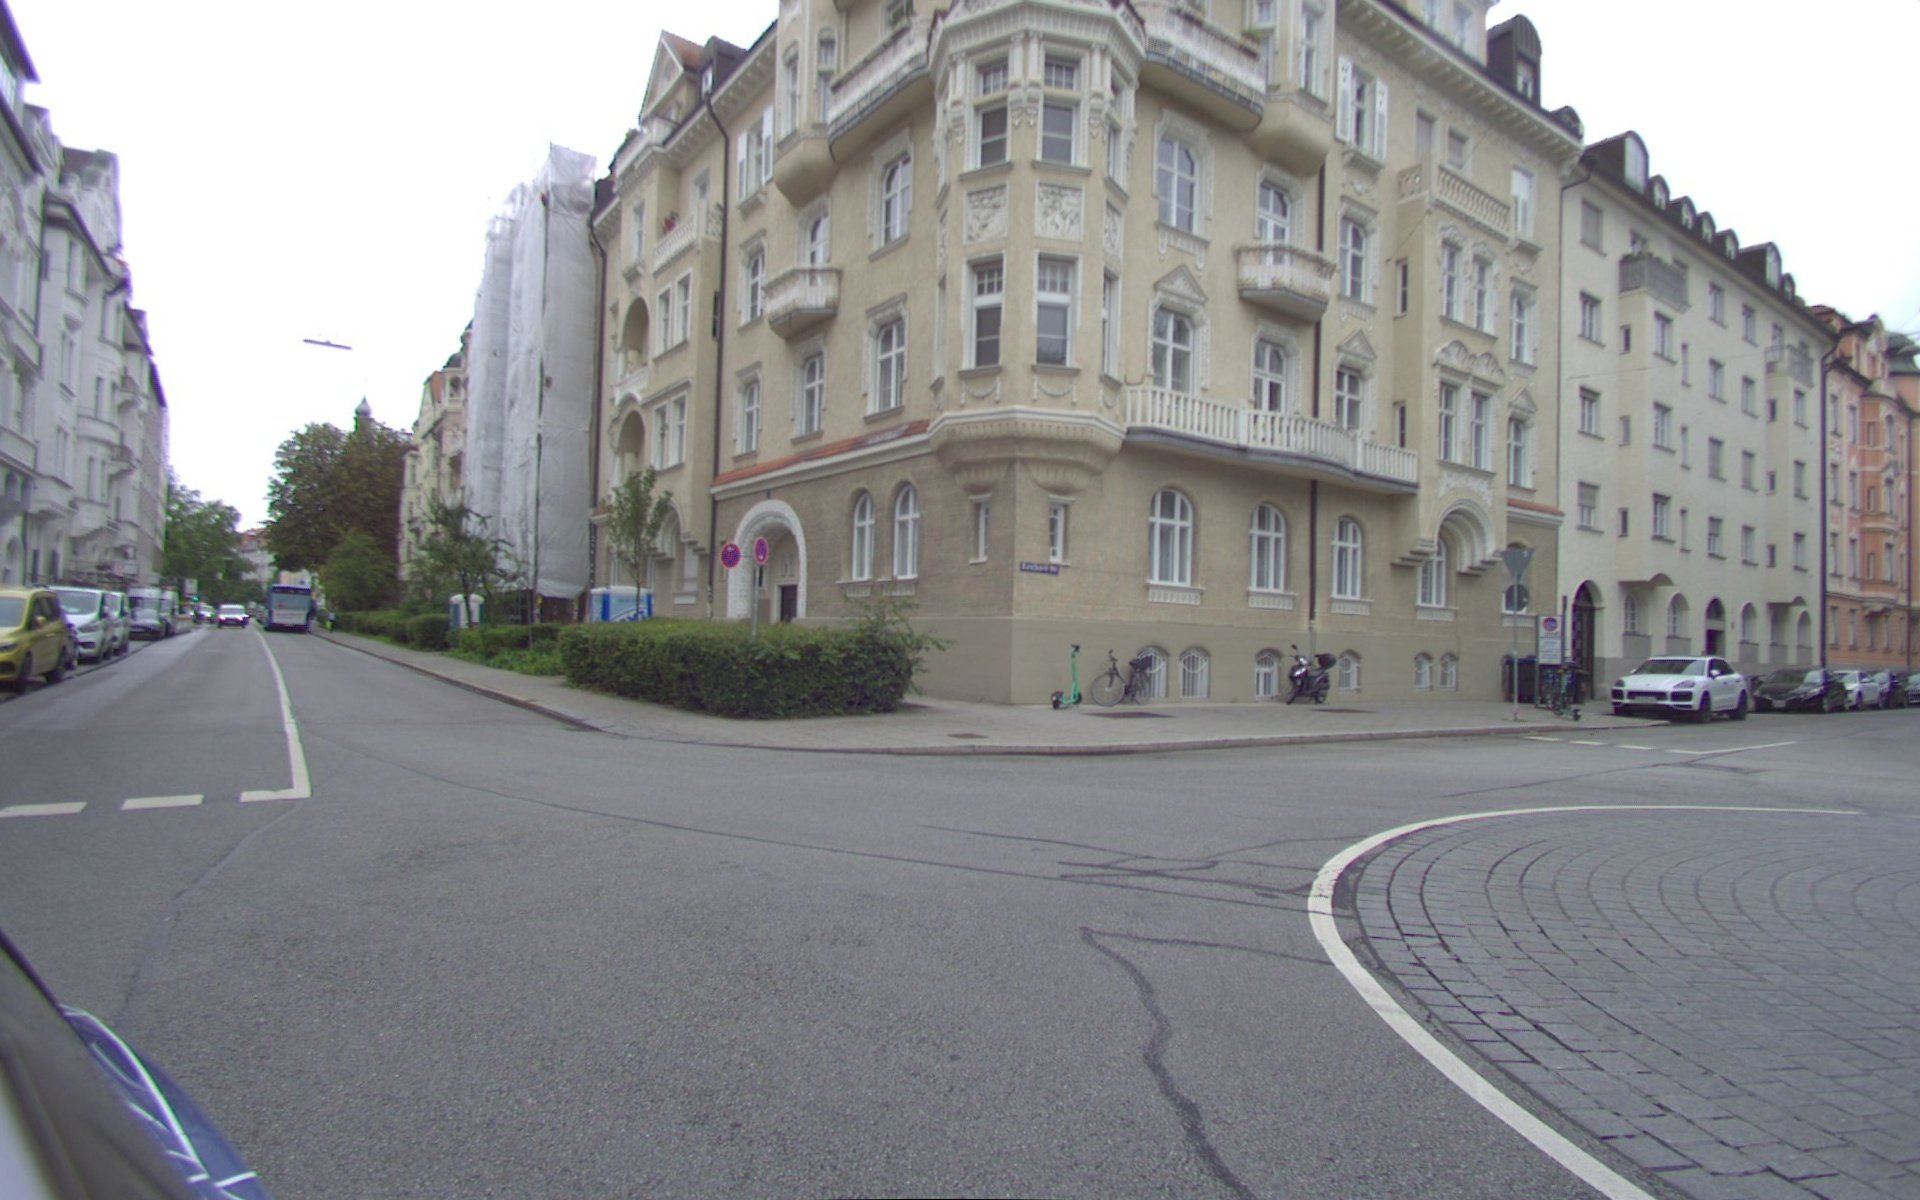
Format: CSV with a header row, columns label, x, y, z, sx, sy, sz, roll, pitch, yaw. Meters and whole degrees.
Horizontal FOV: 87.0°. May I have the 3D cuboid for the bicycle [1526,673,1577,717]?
label,x,y,z,sx,sy,sz,roll,pitch,yaw
bicycle,15.267,2.428,26.106,1.946,1.077,0.654,4,-3,-44

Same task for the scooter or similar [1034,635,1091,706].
label,x,y,z,sx,sy,sz,roll,pitch,yaw
scooter or similar,1.942,1.311,19.013,0.458,1.281,1.269,0,-3,36

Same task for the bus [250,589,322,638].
label,x,y,z,sx,sy,sz,roll,pitch,yaw
bus,-51.802,1.027,77.446,3.130,3.236,18.095,5,-4,-37

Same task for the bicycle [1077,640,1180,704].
label,x,y,z,sx,sy,sz,roll,pitch,yaw
bicycle,3.420,1.446,20.385,2.303,1.212,0.700,3,-3,-41

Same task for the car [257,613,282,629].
label,x,y,z,sx,sy,sz,roll,pitch,yaw
car,-66.364,2.010,97.281,1.696,1.417,4.012,3,-2,-31

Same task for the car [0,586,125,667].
label,x,y,z,sx,sy,sz,roll,pitch,yaw
car,-23.720,0.691,26.840,1.967,1.933,4.898,3,-3,-35

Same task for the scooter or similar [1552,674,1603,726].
label,x,y,z,sx,sy,sz,roll,pitch,yaw
scooter or similar,14.513,2.329,23.822,0.536,1.117,1.343,1,-2,9

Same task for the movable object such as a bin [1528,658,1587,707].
label,x,y,z,sx,sy,sz,roll,pitch,yaw
movable object such as a bin,17.993,2.475,30.471,1.161,1.381,1.151,3,-3,-34

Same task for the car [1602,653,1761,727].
label,x,y,z,sx,sy,sz,roll,pitch,yaw
car,18.920,2.318,26.452,4.909,1.688,2.004,3,-3,-37

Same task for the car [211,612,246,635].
label,x,y,z,sx,sy,sz,roll,pitch,yaw
car,-56.997,1.838,78.908,1.888,1.670,4.614,3,-2,-32

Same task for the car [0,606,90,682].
label,x,y,z,sx,sy,sz,roll,pitch,yaw
car,-20.392,0.921,22.079,1.611,1.525,3.895,3,-2,-34

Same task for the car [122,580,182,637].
label,x,y,z,sx,sy,sz,roll,pitch,yaw
car,-42.454,0.473,53.274,2.049,2.709,5.457,5,-3,-36

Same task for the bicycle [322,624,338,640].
label,x,y,z,sx,sy,sz,roll,pitch,yaw
bicycle,-43.857,2.215,70.494,0.758,1.090,2.054,1,-1,-37

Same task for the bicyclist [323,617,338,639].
label,x,y,z,sx,sy,sz,roll,pitch,yaw
bicyclist,-43.847,1.918,70.478,0.758,1.504,1.063,1,-1,-37

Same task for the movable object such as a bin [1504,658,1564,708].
label,x,y,z,sx,sy,sz,roll,pitch,yaw
movable object such as a bin,16.942,2.439,29.889,1.161,1.381,1.151,3,-3,-34

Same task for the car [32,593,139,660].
label,x,y,z,sx,sy,sz,roll,pitch,yaw
car,-27.565,0.837,32.062,1.967,1.933,4.890,3,-3,-35

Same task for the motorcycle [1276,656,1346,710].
label,x,y,z,sx,sy,sz,roll,pitch,yaw
motorcycle,8.230,1.934,23.708,1.718,1.195,0.743,3,-3,-39

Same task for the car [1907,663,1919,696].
label,x,y,z,sx,sy,sz,roll,pitch,yaw
car,42.755,3.474,43.760,4.112,1.386,2.004,3,-3,-37

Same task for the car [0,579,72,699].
label,x,y,z,sx,sy,sz,roll,pitch,yaw
car,-17.334,0.614,17.812,1.967,1.933,4.582,3,-3,-35

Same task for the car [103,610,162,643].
label,x,y,z,sx,sy,sz,roll,pitch,yaw
car,-38.292,1.221,46.910,1.764,1.418,4.255,3,-3,-35

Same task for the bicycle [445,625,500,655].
label,x,y,z,sx,sy,sz,roll,pitch,yaw
bicycle,-19.267,1.561,40.002,1.835,1.085,0.692,-2,0,-34

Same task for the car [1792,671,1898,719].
label,x,y,z,sx,sy,sz,roll,pitch,yaw
car,31.126,3.304,35.570,4.112,1.461,2.004,3,-3,-37

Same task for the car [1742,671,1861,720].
label,x,y,z,sx,sy,sz,roll,pitch,yaw
car,27.226,3.037,32.695,4.405,1.369,2.004,3,-3,-37

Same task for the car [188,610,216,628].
label,x,y,z,sx,sy,sz,roll,pitch,yaw
car,-72.004,1.786,96.169,1.696,1.644,4.012,3,-2,-31

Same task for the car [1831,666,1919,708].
label,x,y,z,sx,sy,sz,roll,pitch,yaw
car,34.910,3.281,38.405,4.112,1.386,2.004,3,-3,-37

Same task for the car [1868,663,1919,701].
label,x,y,z,sx,sy,sz,roll,pitch,yaw
car,38.835,3.342,41.240,4.112,1.386,2.004,3,-3,-37
